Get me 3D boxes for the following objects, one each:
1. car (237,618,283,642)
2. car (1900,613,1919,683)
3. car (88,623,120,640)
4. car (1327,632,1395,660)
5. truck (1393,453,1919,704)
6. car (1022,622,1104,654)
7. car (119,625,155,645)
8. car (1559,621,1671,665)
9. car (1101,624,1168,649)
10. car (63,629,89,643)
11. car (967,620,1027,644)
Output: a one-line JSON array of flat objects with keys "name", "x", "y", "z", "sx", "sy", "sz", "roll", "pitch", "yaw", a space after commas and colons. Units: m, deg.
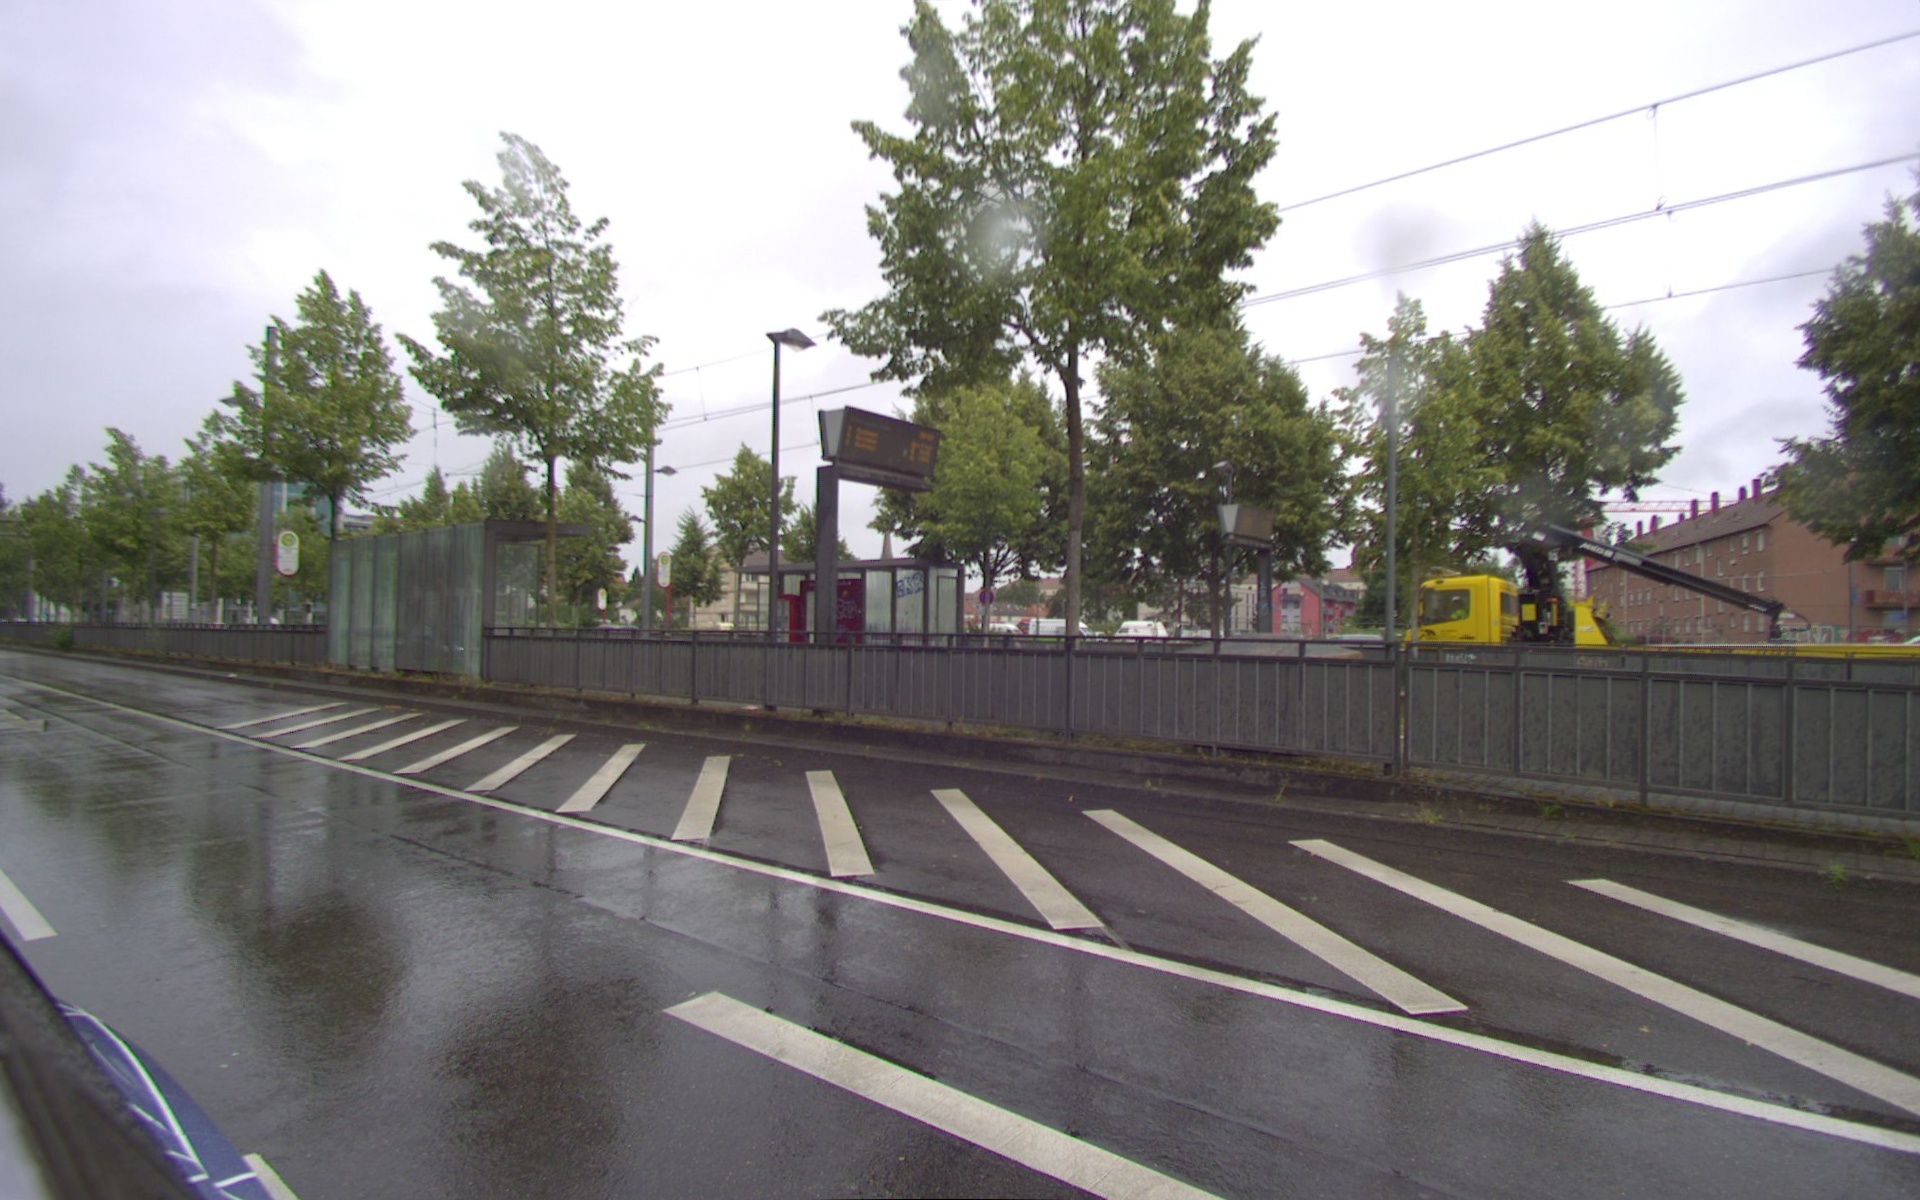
[{"name": "car", "x": -56.195, "y": 2.384, "z": 81.226, "sx": 3.995, "sy": 1.759, "sz": 1.974, "roll": -1, "pitch": 0, "yaw": 39}, {"name": "car", "x": 36.320, "y": 1.637, "z": 34.163, "sx": 1.597, "sy": 2.489, "sz": 6.500, "roll": 2, "pitch": -3, "yaw": -38}, {"name": "car", "x": -93.828, "y": 3.386, "z": 110.906, "sx": 3.995, "sy": 1.759, "sz": 1.974, "roll": -1, "pitch": 0, "yaw": 39}, {"name": "car", "x": 29.749, "y": 3.407, "z": 75.075, "sx": 4.415, "sy": 1.891, "sz": 1.855, "roll": -1, "pitch": 0, "yaw": 35}, {"name": "truck", "x": 13.058, "y": -0.318, "z": 18.376, "sx": 9.173, "sy": 3.806, "sz": 2.661, "roll": -1, "pitch": 0, "yaw": 39}, {"name": "car", "x": 8.433, "y": 3.091, "z": 83.310, "sx": 6.736, "sy": 2.480, "sz": 1.975, "roll": -1, "pitch": 0, "yaw": 37}, {"name": "car", "x": -80.100, "y": 3.393, "z": 98.479, "sx": 3.995, "sy": 1.759, "sz": 1.974, "roll": -1, "pitch": 0, "yaw": 39}, {"name": "car", "x": 38.836, "y": 2.505, "z": 60.070, "sx": 5.483, "sy": 2.471, "sz": 1.976, "roll": -1, "pitch": 0, "yaw": 36}, {"name": "car", "x": 14.880, "y": 3.086, "z": 86.464, "sx": 5.412, "sy": 2.067, "sz": 1.975, "roll": -1, "pitch": 0, "yaw": 37}, {"name": "car", "x": -120.105, "y": 4.867, "z": 137.459, "sx": 3.995, "sy": 1.759, "sz": 1.974, "roll": -1, "pitch": 0, "yaw": 39}, {"name": "car", "x": 3.831, "y": 3.329, "z": 106.000, "sx": 6.124, "sy": 2.323, "sz": 1.978, "roll": -1, "pitch": 0, "yaw": 32}]
